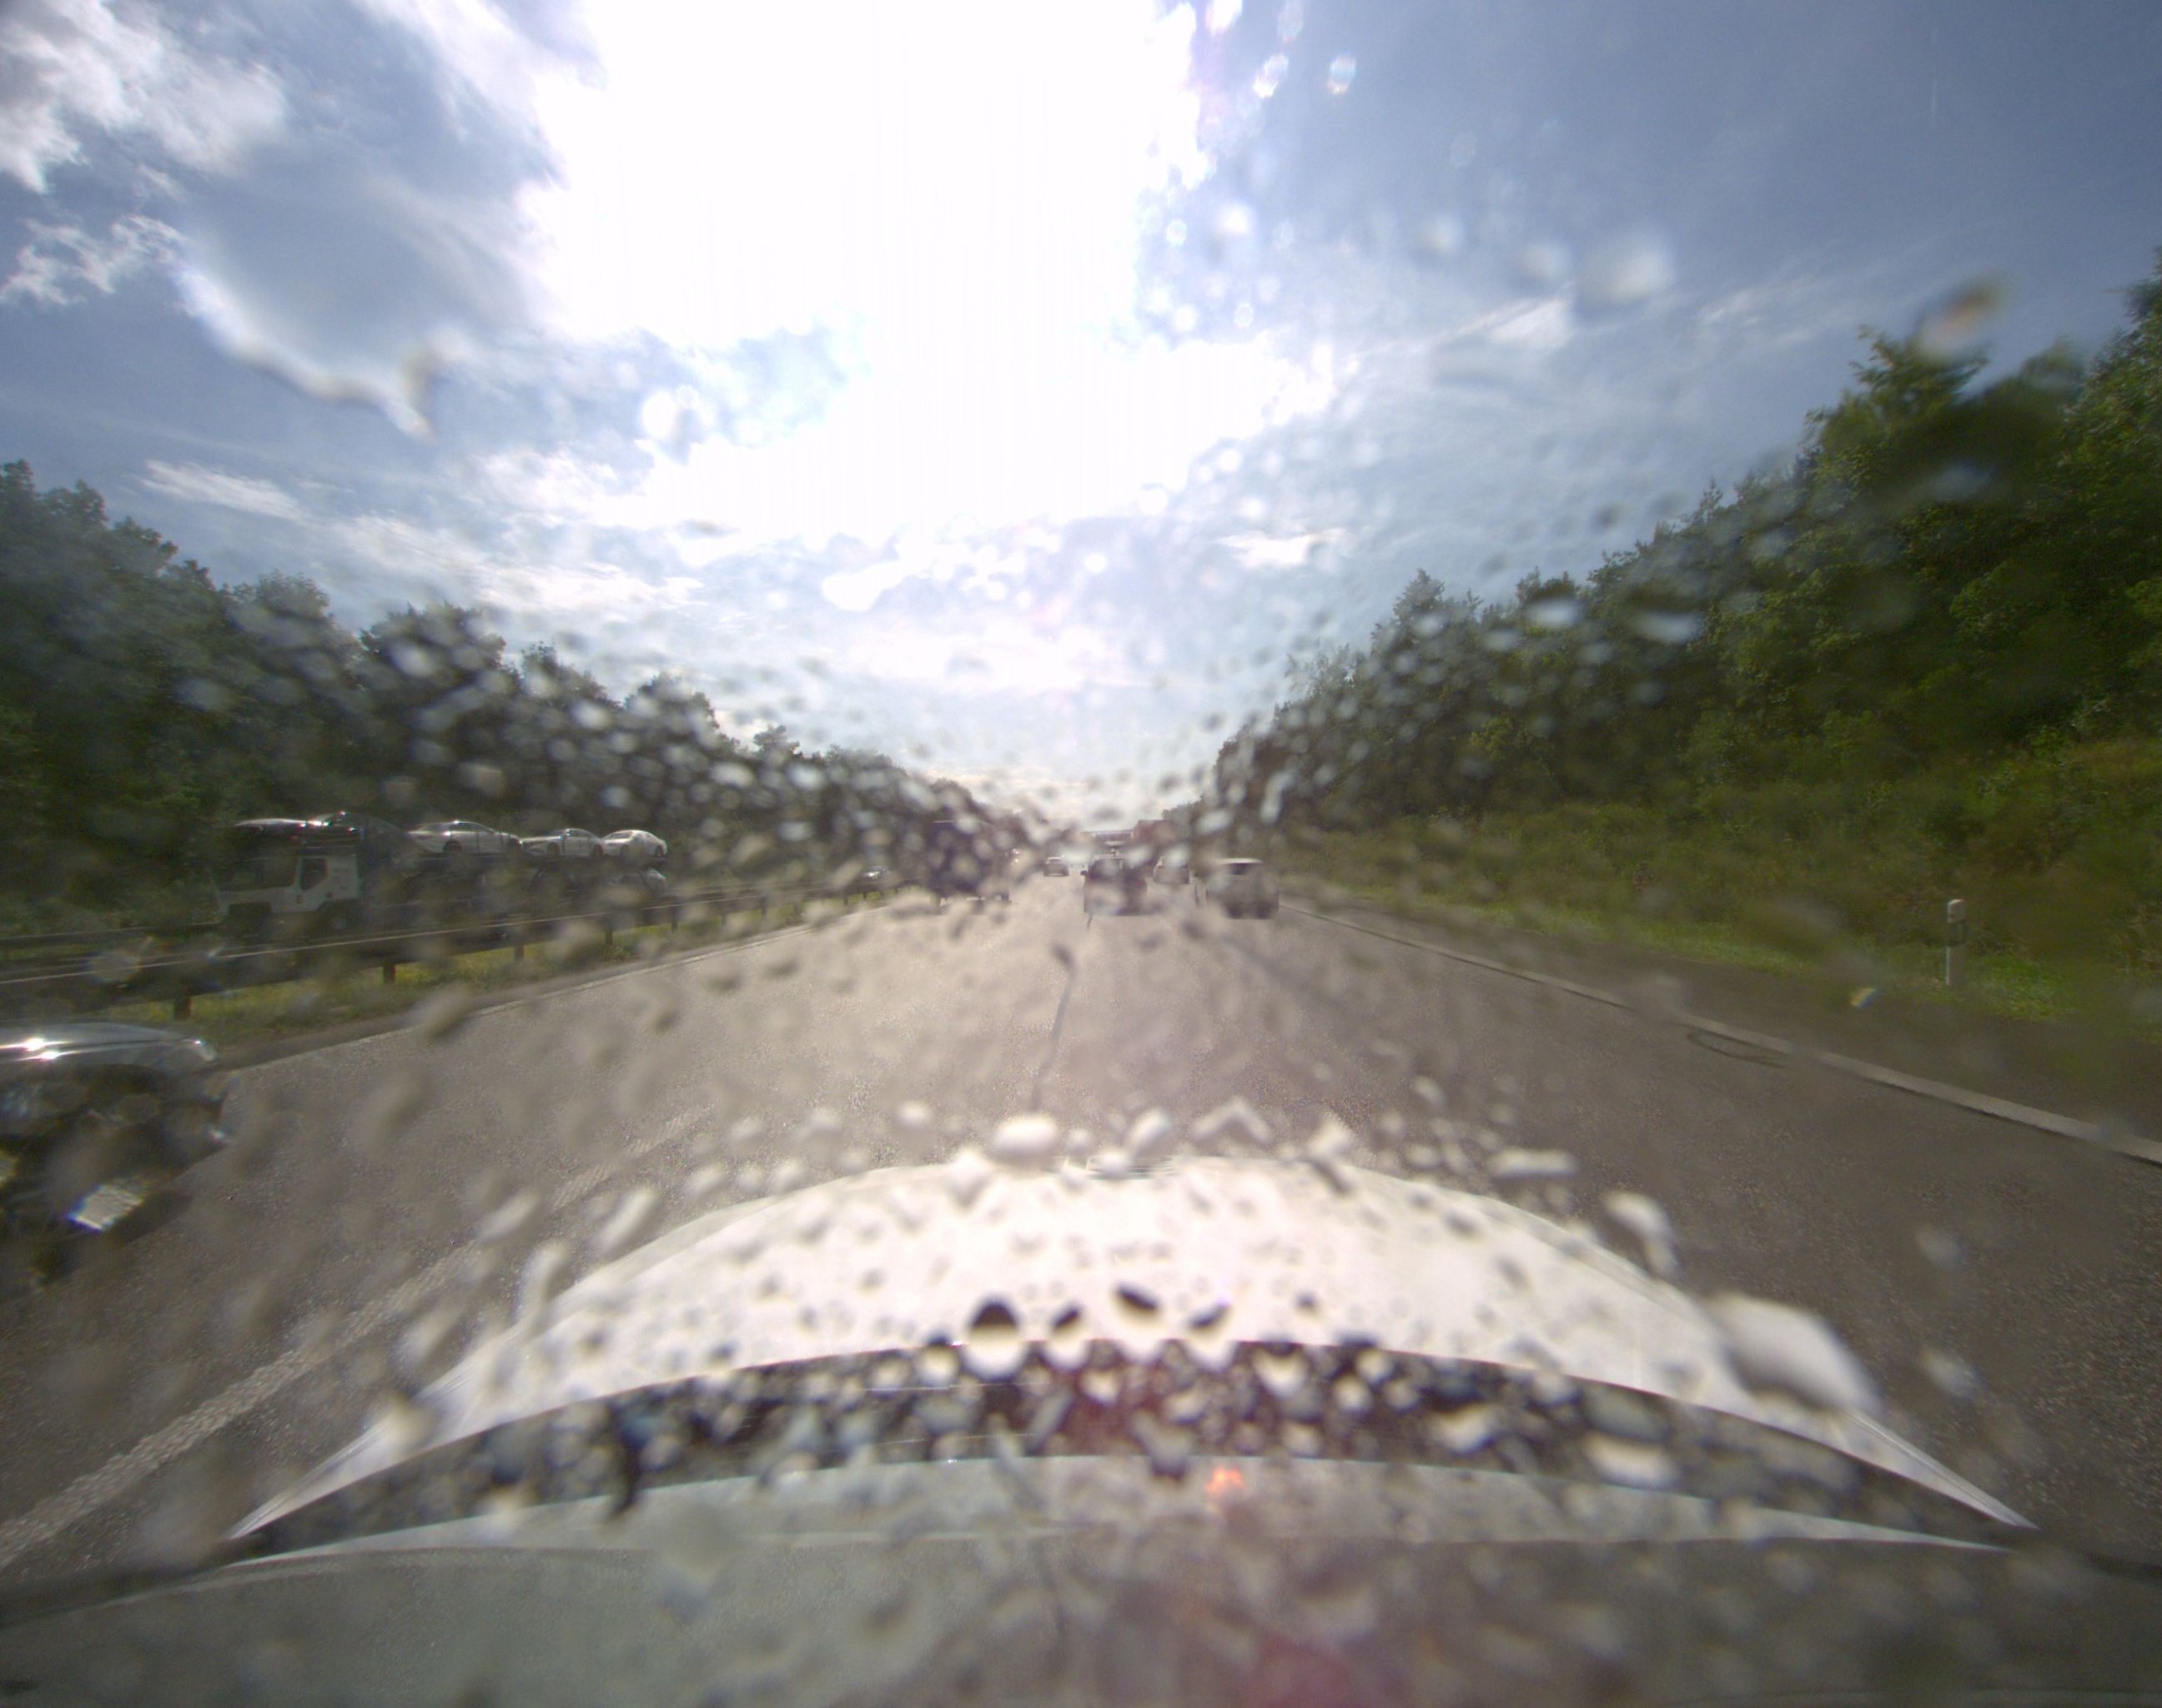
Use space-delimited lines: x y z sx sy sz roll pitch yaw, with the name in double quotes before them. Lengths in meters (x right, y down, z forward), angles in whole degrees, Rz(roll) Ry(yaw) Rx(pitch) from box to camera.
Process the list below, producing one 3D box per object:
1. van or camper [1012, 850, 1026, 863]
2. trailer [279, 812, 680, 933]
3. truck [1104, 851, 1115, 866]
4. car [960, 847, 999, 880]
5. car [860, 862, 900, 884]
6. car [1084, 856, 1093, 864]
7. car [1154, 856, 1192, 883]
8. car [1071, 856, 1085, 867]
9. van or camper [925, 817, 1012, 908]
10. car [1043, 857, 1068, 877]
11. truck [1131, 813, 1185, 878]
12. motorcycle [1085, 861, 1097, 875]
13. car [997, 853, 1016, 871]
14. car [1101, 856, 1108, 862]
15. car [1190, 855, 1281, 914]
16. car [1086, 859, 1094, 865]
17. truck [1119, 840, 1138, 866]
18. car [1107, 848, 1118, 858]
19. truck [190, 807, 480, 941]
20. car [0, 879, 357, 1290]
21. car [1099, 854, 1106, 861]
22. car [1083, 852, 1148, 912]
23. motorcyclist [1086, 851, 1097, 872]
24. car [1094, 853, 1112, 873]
"van or camper" -14.044 0.509 185.015 2.492 2.921 7.138 0 0 1
"trailer" -23.486 0.641 34.756 2.978 3.831 17.964 0 0 3
"truck" 5.989 0.930 169.003 2.184 2.875 4.850 0 0 1
"car" -7.720 0.713 62.405 2.175 2.452 5.748 0 0 1
"car" -14.876 1.372 60.498 1.811 1.499 4.529 0 0 1
"car" 1.243 1.045 139.958 1.455 1.393 3.312 0 0 1
"car" 5.035 0.822 44.912 1.675 1.442 3.905 0 0 1
"car" -0.384 1.047 112.155 1.745 1.457 3.390 0 0 1
"van or camper" -3.545 0.276 26.661 1.986 2.669 5.385 0 0 1
"car" -2.015 1.036 65.598 1.848 1.551 3.485 0 0 1
"truck" 6.097 -0.571 67.705 3.635 4.720 16.789 0 0 3
"motorcycle" 0.784 1.069 62.964 0.887 1.000 2.896 0 0 1
"car" -12.007 1.346 132.286 2.254 2.870 6.791 0 0 2
"car" 7.395 1.589 252.973 1.986 1.728 4.002 -1 0 2
"car" 4.027 0.760 21.871 1.686 1.425 4.220 0 0 1
"car" 1.881 1.626 165.057 1.544 1.267 3.484 0 0 0
"truck" 8.459 -0.067 147.249 3.243 4.479 12.429 0 0 3
"car" 4.558 -0.098 119.001 1.547 1.383 3.210 0 0 1
"truck" -23.943 0.591 26.811 2.978 3.831 6.869 0 0 3
"car" -4.752 0.830 1.838 1.787 1.419 4.841 0 0 2
"car" 6.111 0.971 232.364 1.985 1.701 4.004 -2 0 3
"car" 0.957 0.754 23.367 1.712 1.568 3.485 0 0 1
"motorcyclist" 0.795 0.578 62.924 0.799 1.633 1.013 0 -1 1
"car" 1.977 0.805 74.181 1.526 1.746 3.485 0 0 1
